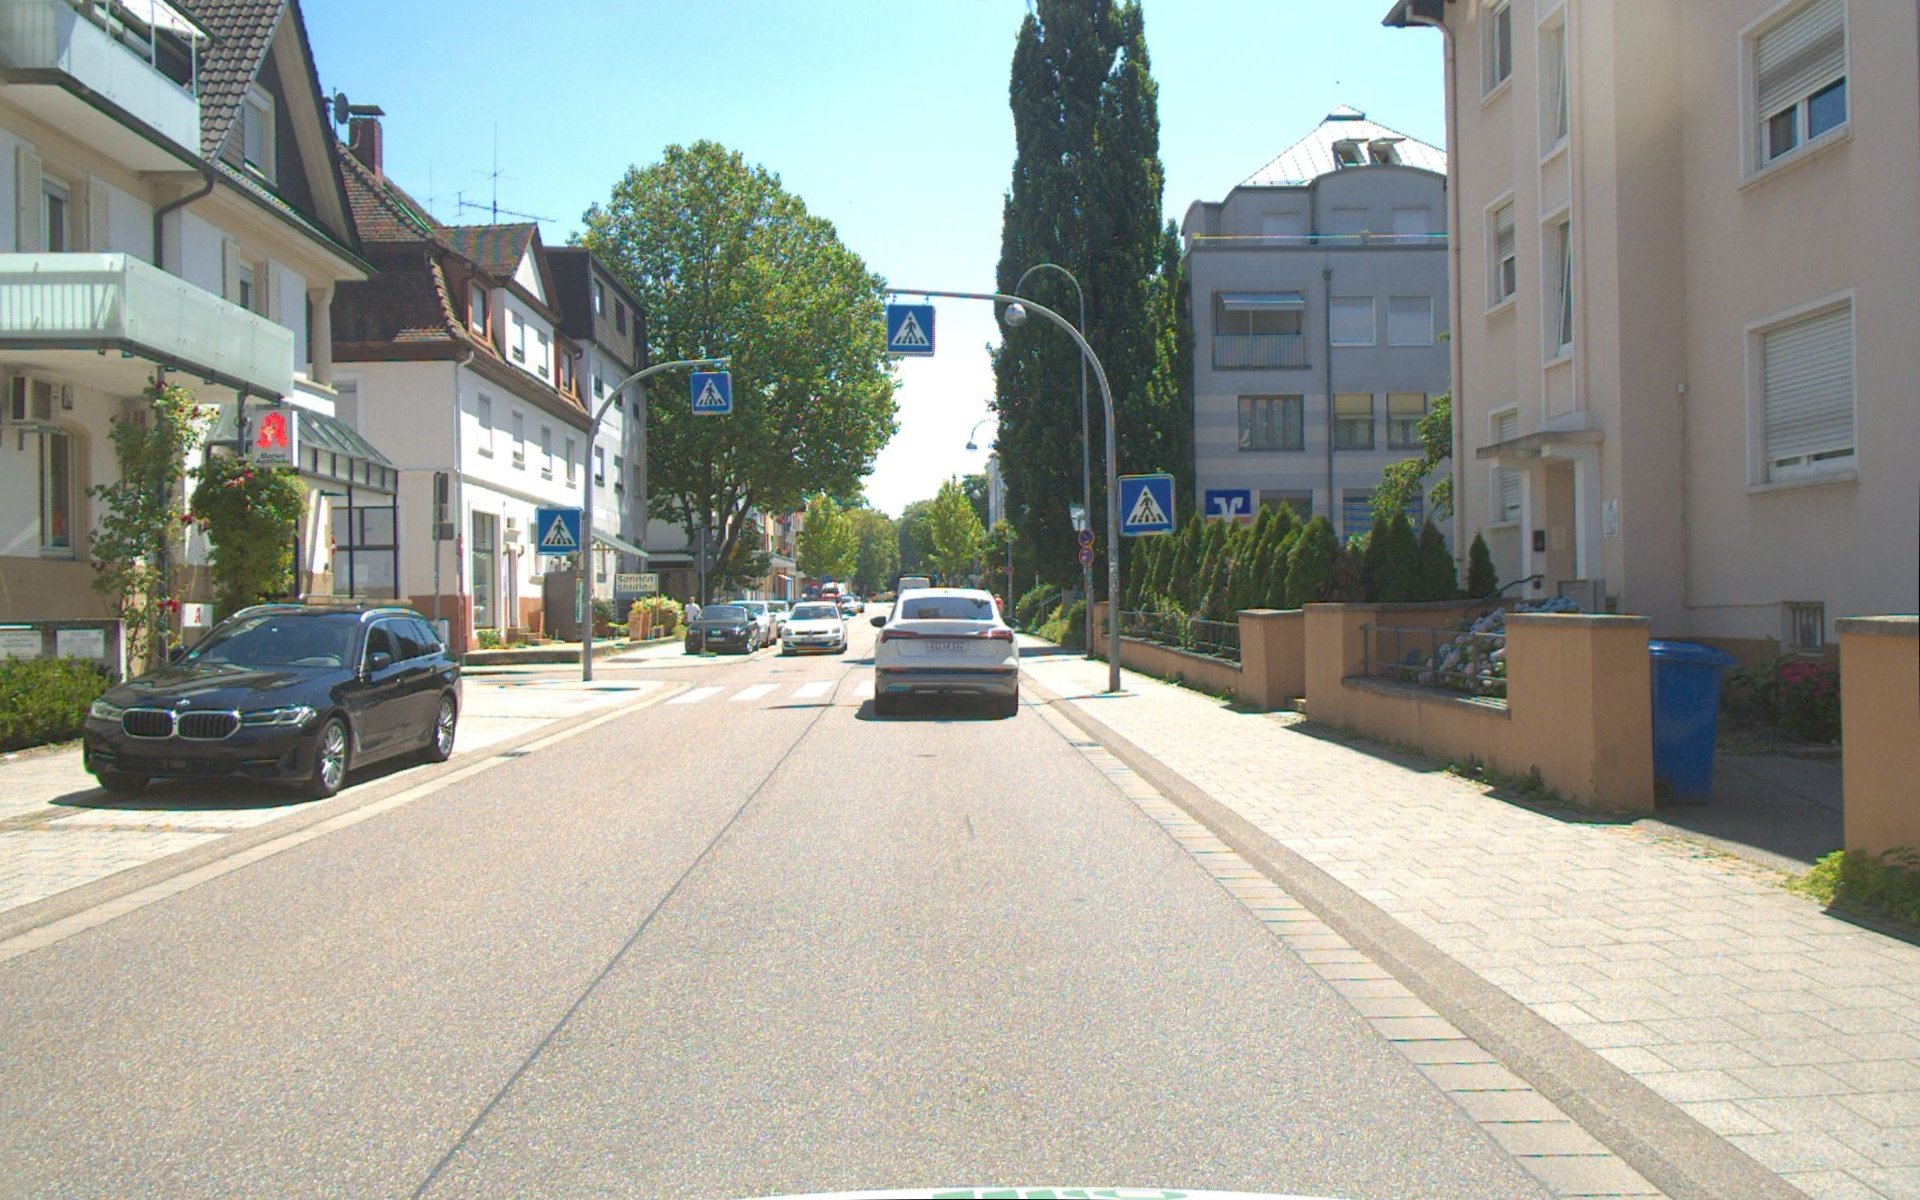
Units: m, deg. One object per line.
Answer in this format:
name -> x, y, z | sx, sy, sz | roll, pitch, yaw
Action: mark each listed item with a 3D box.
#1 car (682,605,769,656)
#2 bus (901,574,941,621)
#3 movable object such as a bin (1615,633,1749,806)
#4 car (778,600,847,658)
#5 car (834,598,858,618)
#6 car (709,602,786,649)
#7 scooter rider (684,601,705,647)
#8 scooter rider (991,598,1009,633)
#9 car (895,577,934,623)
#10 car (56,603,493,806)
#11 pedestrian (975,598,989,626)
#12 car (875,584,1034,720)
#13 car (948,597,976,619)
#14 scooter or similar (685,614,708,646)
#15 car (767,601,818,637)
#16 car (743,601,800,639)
car -> -6.848, 0.867, 48.795 | 1.903, 1.397, 5.097 | 0, 0, -1
bus -> -2.789, -0.139, 121.370 | 2.606, 3.278, 7.301 | 1, 0, 1
movable object such as a bin -> 4.918, 0.799, 11.296 | 0.612, 1.119, 0.633 | -2, 0, 1
car -> -4.192, 0.812, 47.420 | 1.772, 1.508, 3.866 | -3, 0, -3
car -> -9.450, 0.671, 137.279 | 1.717, 1.646, 4.400 | 1, 0, 0
car -> -6.985, 0.807, 54.862 | 1.941, 1.477, 5.356 | 0, 0, -1
scooter rider -> -9.598, 0.862, 59.854 | 0.576, 1.603, 0.877 | 1, 0, -1
scooter rider -> 1.833, 0.707, 75.516 | 0.702, 1.575, 0.770 | -2, 0, -4
car -> -2.596, 0.024, 93.963 | 2.112, 2.484, 5.282 | 1, 0, -1
car -> -5.907, 0.795, 15.083 | 1.878, 1.477, 5.148 | 2, 0, -1
pedestrian -> 1.302, 0.716, 99.501 | 0.686, 1.655, 0.783 | -4, 0, -3
car -> -0.155, 0.640, 22.411 | 1.954, 1.661, 3.998 | 0, 0, -3
car -> 0.128, 0.568, 114.928 | 1.857, 1.463, 4.544 | -1, 0, 0
scooter or similar -> -9.614, 1.086, 60.397 | 0.650, 1.117, 1.028 | 1, 0, 0
car -> -7.306, 0.801, 72.474 | 1.941, 1.477, 5.148 | 0, 0, -3
car -> -7.527, 0.770, 66.570 | 1.941, 1.477, 4.865 | 0, 0, -3
